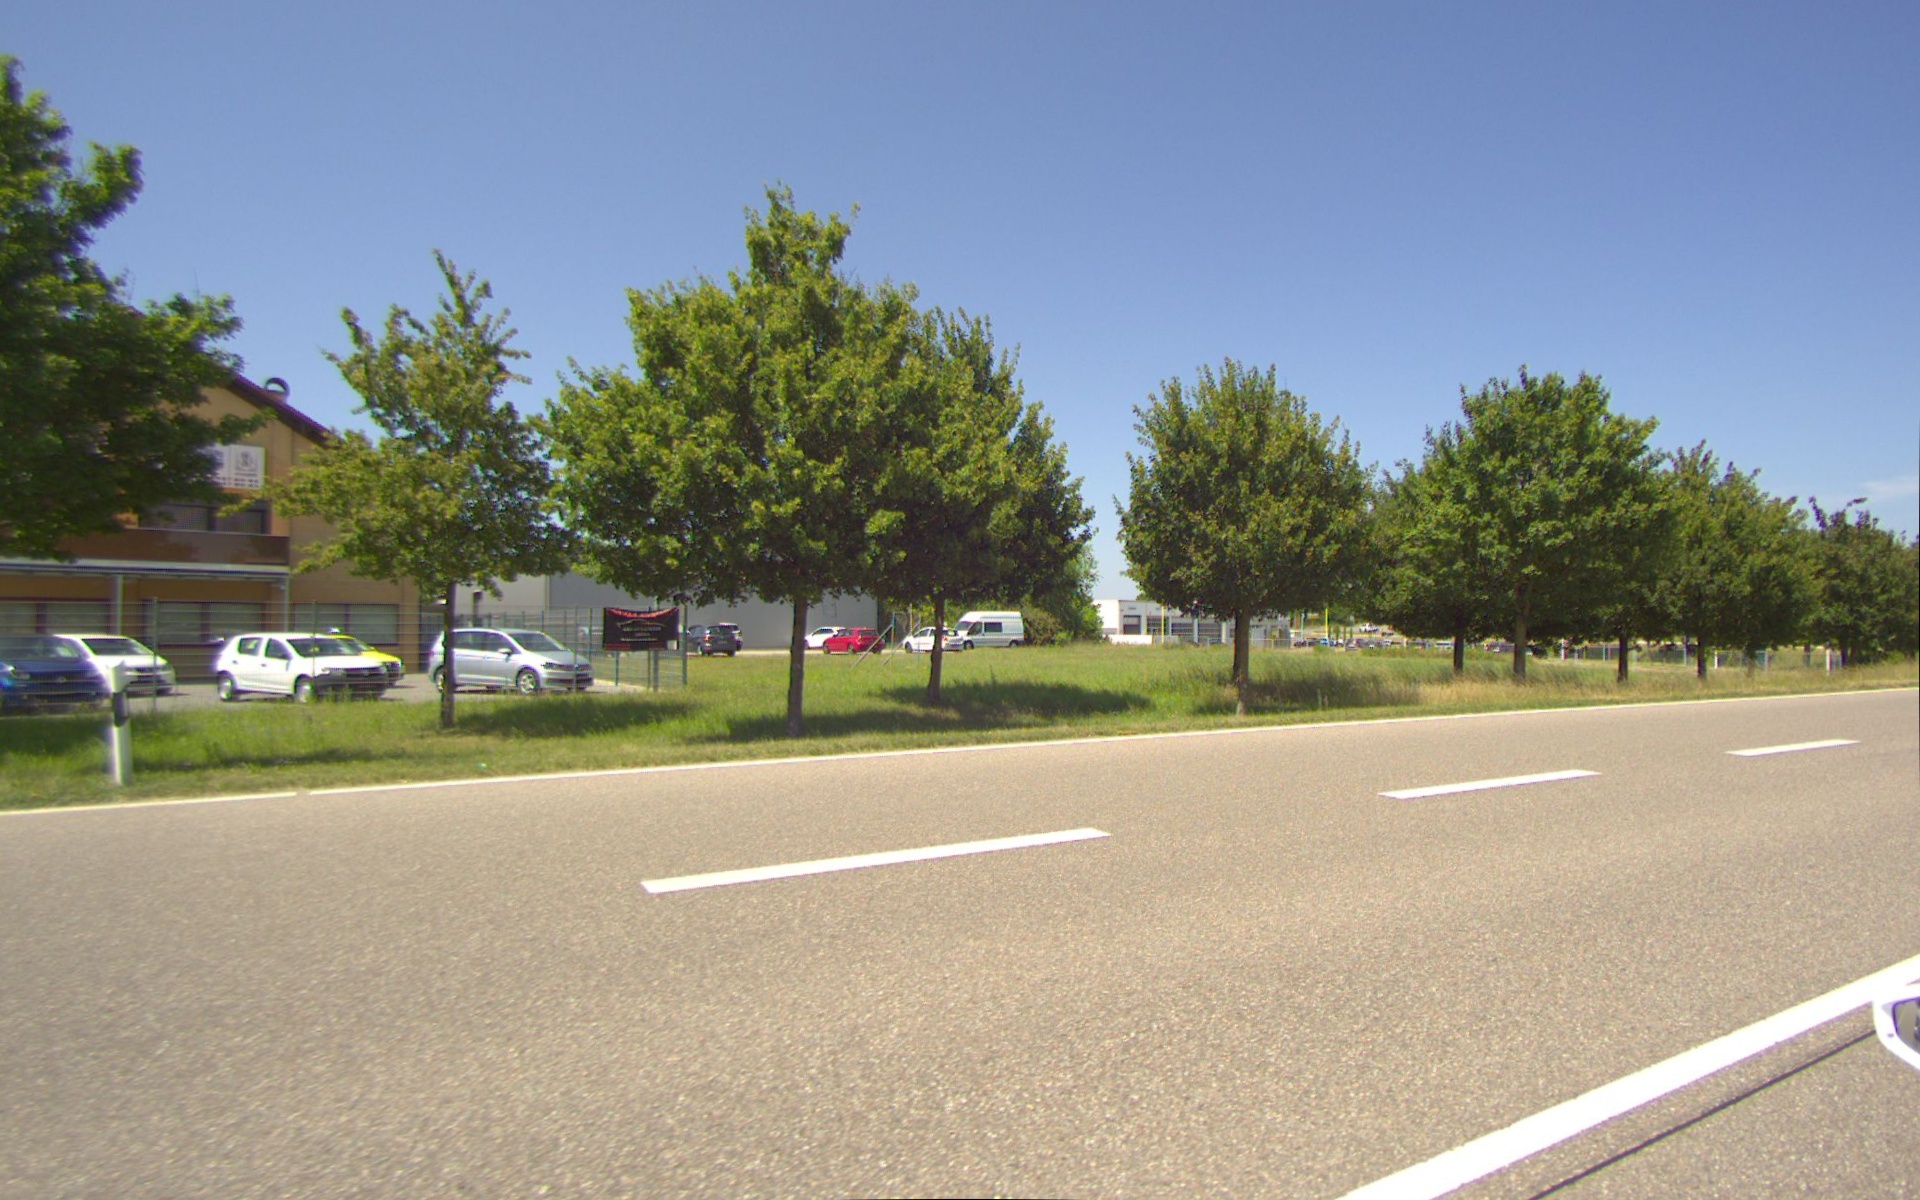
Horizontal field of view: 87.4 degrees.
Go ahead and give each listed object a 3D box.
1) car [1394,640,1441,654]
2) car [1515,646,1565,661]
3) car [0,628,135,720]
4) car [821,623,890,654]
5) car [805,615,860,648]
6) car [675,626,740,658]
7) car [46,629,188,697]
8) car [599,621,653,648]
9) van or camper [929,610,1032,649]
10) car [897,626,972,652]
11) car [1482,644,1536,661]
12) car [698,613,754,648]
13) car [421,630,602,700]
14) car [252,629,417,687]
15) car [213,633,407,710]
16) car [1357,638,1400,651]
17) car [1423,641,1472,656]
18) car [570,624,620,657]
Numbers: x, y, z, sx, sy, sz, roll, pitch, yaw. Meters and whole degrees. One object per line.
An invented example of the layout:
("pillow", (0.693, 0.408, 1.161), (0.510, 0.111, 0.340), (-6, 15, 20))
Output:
("car", (47.052, 4.841, 103.436), (3.922, 1.412, 2.000), (1, -2, -3))
("car", (58.644, 5.383, 101.608), (3.922, 1.412, 2.000), (1, -2, -3))
("car", (-19.123, 1.427, 20.477), (3.923, 1.617, 1.999), (1, -1, 23))
("car", (-5.540, 2.015, 53.001), (1.910, 1.528, 3.959), (2, -1, -36))
("car", (-8.402, 2.057, 66.068), (1.980, 2.040, 3.960), (2, -1, -35))
("car", (-12.220, 2.012, 48.581), (1.723, 1.439, 3.572), (2, -1, -38))
("car", (-20.725, 1.503, 24.683), (3.284, 1.472, 1.511), (1, -1, 27))
("car", (-19.111, 1.970, 57.423), (1.842, 1.439, 3.589), (2, -1, -38))
("van or camper", (1.377, 1.892, 64.790), (6.474, 2.394, 2.446), (2, -1, -35))
("car", (-1.466, 2.170, 56.485), (3.944, 1.372, 1.989), (0, -2, 43))
("car", (50.835, 4.852, 93.092), (3.922, 1.412, 2.000), (1, -2, -3))
("car", (-14.281, 1.814, 61.244), (1.980, 2.040, 3.960), (2, -1, -35))
("car", (-11.322, 1.580, 25.357), (4.257, 1.563, 1.589), (1, -1, 20))
("car", (-17.322, 1.565, 27.854), (3.920, 1.416, 1.739), (1, -1, 17))
("car", (-14.635, 1.558, 22.624), (3.915, 1.499, 1.673), (1, -1, 21))
("car", (45.745, 4.856, 109.879), (3.922, 1.412, 2.000), (1, -2, -3))
("car", (48.331, 4.848, 99.604), (3.922, 1.412, 2.000), (1, -2, -3))
("car", (-16.633, 1.833, 45.743), (1.221, 1.439, 3.034), (2, -1, -38))
